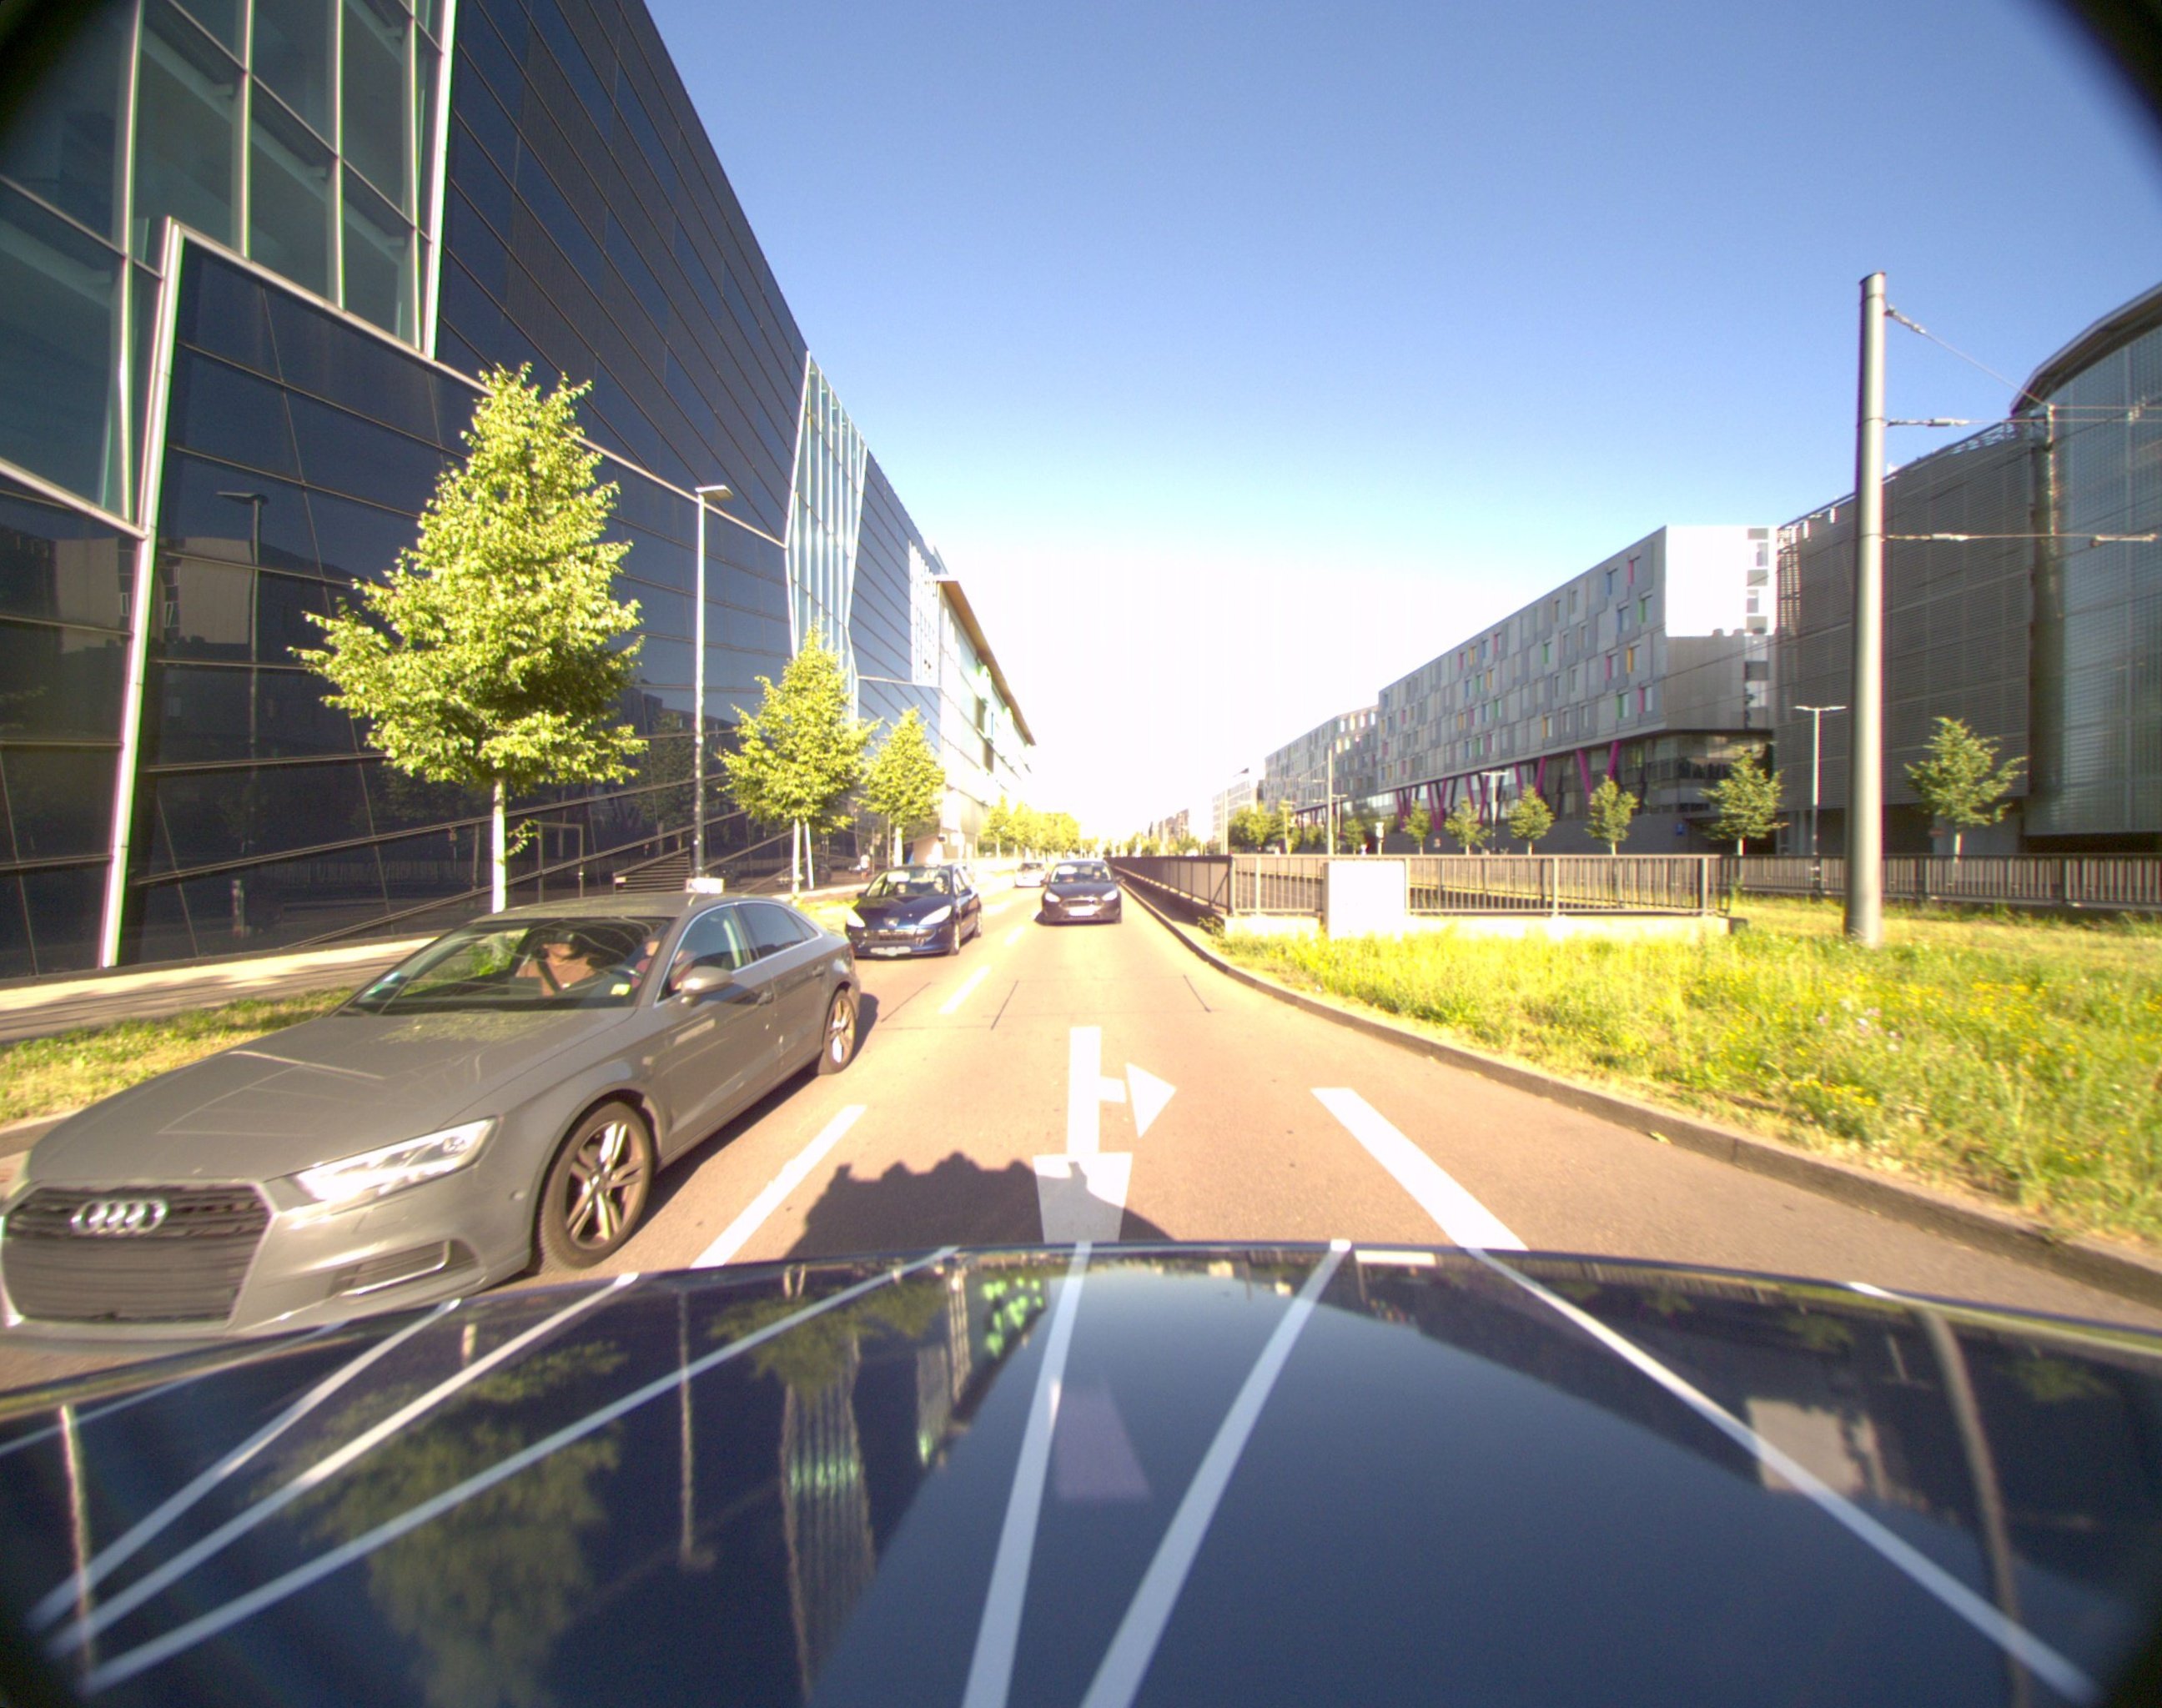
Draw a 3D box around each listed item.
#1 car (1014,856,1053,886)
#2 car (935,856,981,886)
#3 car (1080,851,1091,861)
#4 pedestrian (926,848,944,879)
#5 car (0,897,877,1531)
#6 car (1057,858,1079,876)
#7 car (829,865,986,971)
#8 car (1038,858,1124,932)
[{"bbox_3d":[-2.486,0.891,40.350,1.753,1.469,3.418,-1,0,1],"label":"car"},{"bbox_3d":[-6.842,0.914,42.613,1.740,1.489,4.715,1,0,1],"label":"car"},{"bbox_3d":[0.863,0.395,149.423,1.998,2.002,3.999,-2,1,1],"label":"car"},{"bbox_3d":[-8.950,0.592,46.568,0.828,1.814,0.905,3,1,0],"label":"pedestrian"},{"bbox_3d":[-2.676,1.084,4.145,1.750,1.384,4.264,-1,1,3],"label":"car"},{"bbox_3d":[-1.178,1.184,71.135,1.907,1.612,4.000,0,1,1],"label":"car"},{"bbox_3d":[-2.822,0.980,13.270,1.753,1.469,3.972,-1,0,1],"label":"car"},{"bbox_3d":[0.024,0.876,18.402,1.787,1.499,4.590,-1,0,1],"label":"car"}]
